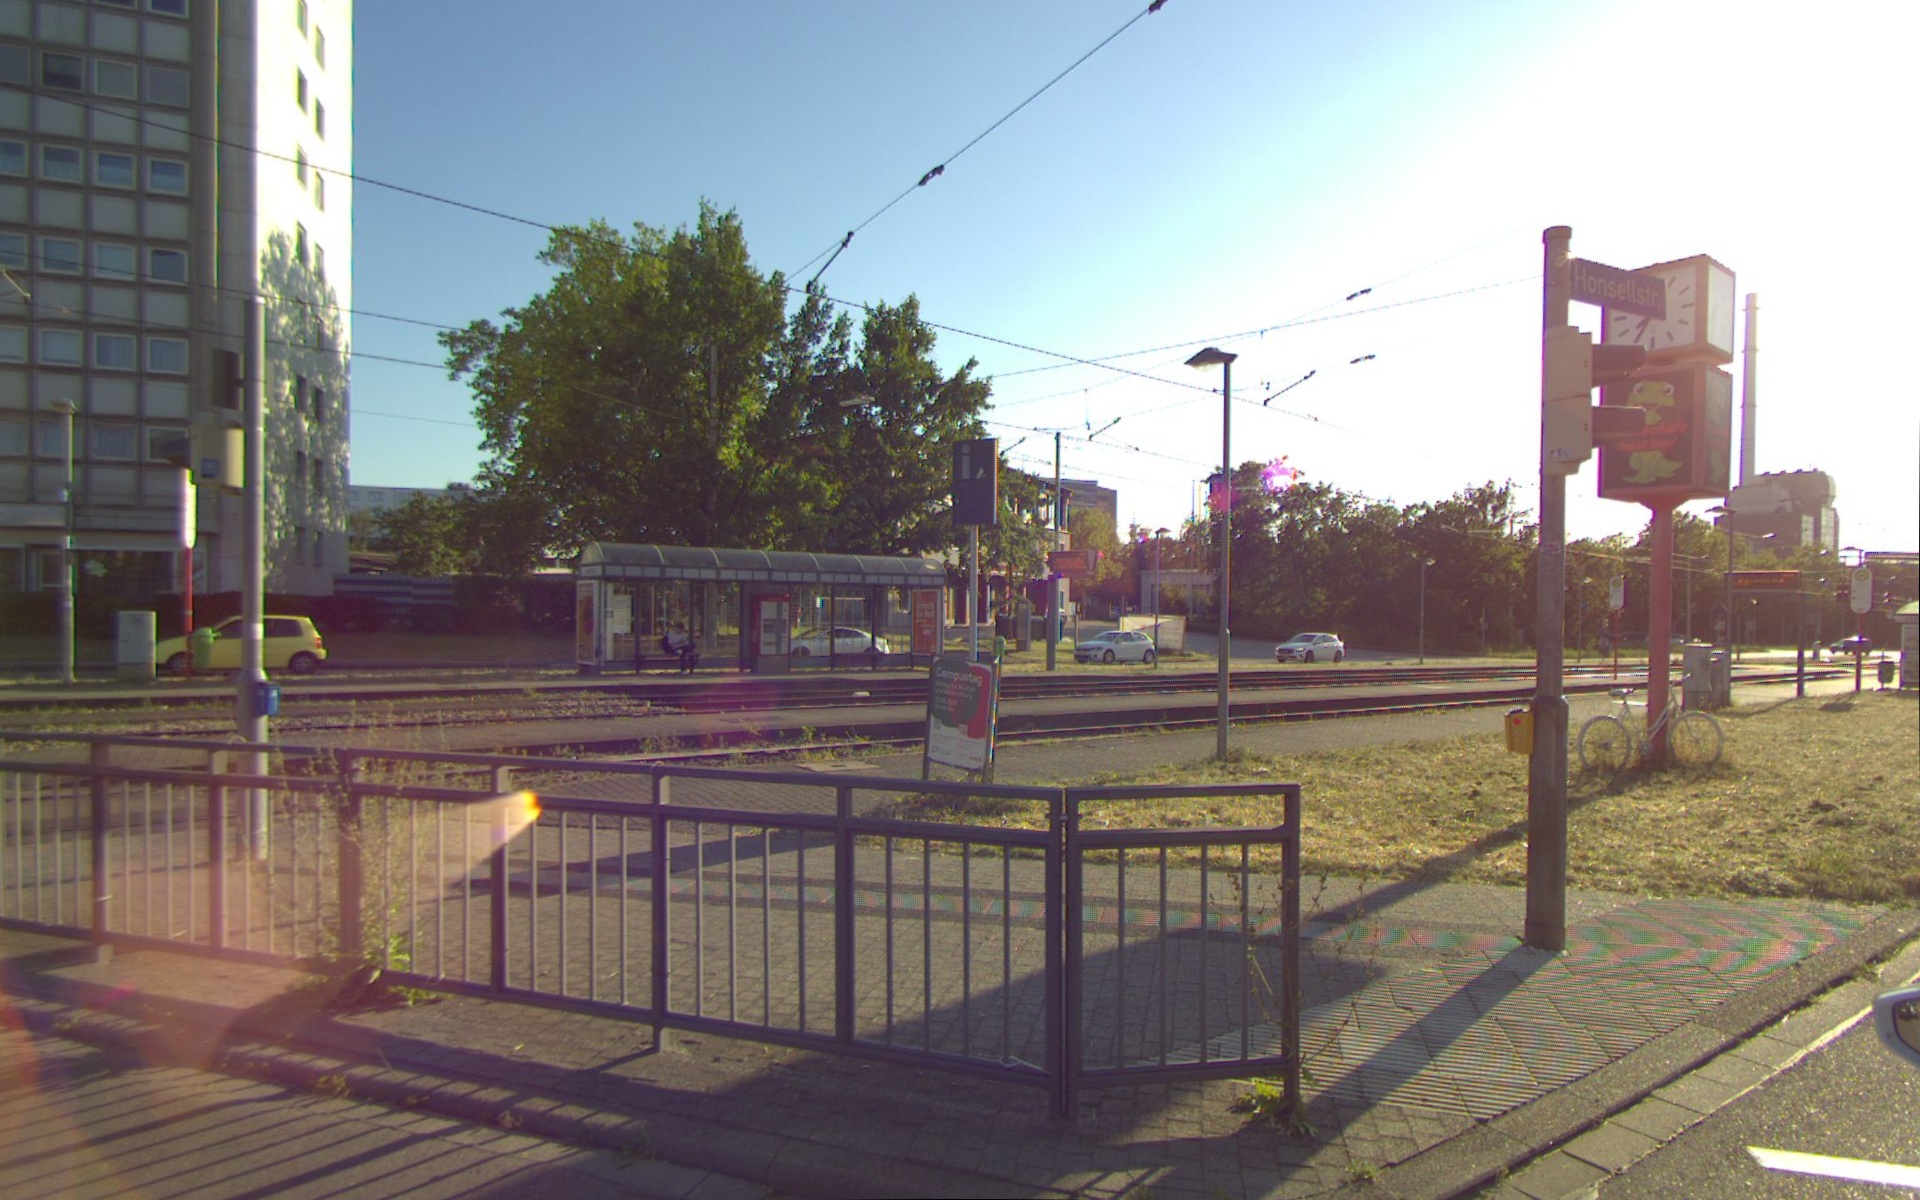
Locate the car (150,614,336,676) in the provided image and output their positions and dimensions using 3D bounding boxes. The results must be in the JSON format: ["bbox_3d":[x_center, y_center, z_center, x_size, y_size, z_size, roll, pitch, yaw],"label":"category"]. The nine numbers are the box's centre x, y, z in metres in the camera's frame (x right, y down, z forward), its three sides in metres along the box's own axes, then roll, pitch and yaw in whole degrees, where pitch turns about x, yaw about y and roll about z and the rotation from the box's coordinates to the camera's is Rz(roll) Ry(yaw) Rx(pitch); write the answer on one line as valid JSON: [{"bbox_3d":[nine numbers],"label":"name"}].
[{"bbox_3d":[-17.280,1.068,24.355,3.559,1.358,1.534,2,-1,-36],"label":"car"}]

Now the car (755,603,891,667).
[{"bbox_3d":[-4.617,1.187,34.055,4.120,2.040,1.980,2,-1,-36],"label":"car"}]

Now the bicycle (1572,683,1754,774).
[{"bbox_3d":[7.642,1.388,10.943,1.711,0.930,0.554,1,-2,-8],"label":"bicycle"}]

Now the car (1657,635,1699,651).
[{"bbox_3d":[88.422,5.265,123.738,3.924,1.773,1.999,1,-1,25],"label":"car"}]

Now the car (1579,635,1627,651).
[{"bbox_3d":[78.578,5.269,122.892,4.700,1.868,1.999,0,-1,25],"label":"car"}]

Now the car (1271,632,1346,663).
[{"bbox_3d":[18.343,2.505,52.763,4.354,1.552,1.643,2,-2,-39],"label":"car"}]

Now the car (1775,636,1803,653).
[{"bbox_3d":[104.606,5.634,126.742,3.965,2.040,1.978,2,-1,-38],"label":"car"}]

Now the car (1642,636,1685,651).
[{"bbox_3d":[85.159,5.231,121.583,3.924,1.773,1.999,1,-1,25],"label":"car"}]

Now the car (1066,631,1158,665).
[{"bbox_3d":[6.603,2.069,43.564,3.932,1.385,1.787,2,-2,-39],"label":"car"}]

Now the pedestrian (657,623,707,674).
[{"bbox_3d":[-6.737,1.163,24.349,0.914,1.204,0.837,2,-1,-36],"label":"pedestrian"}]
